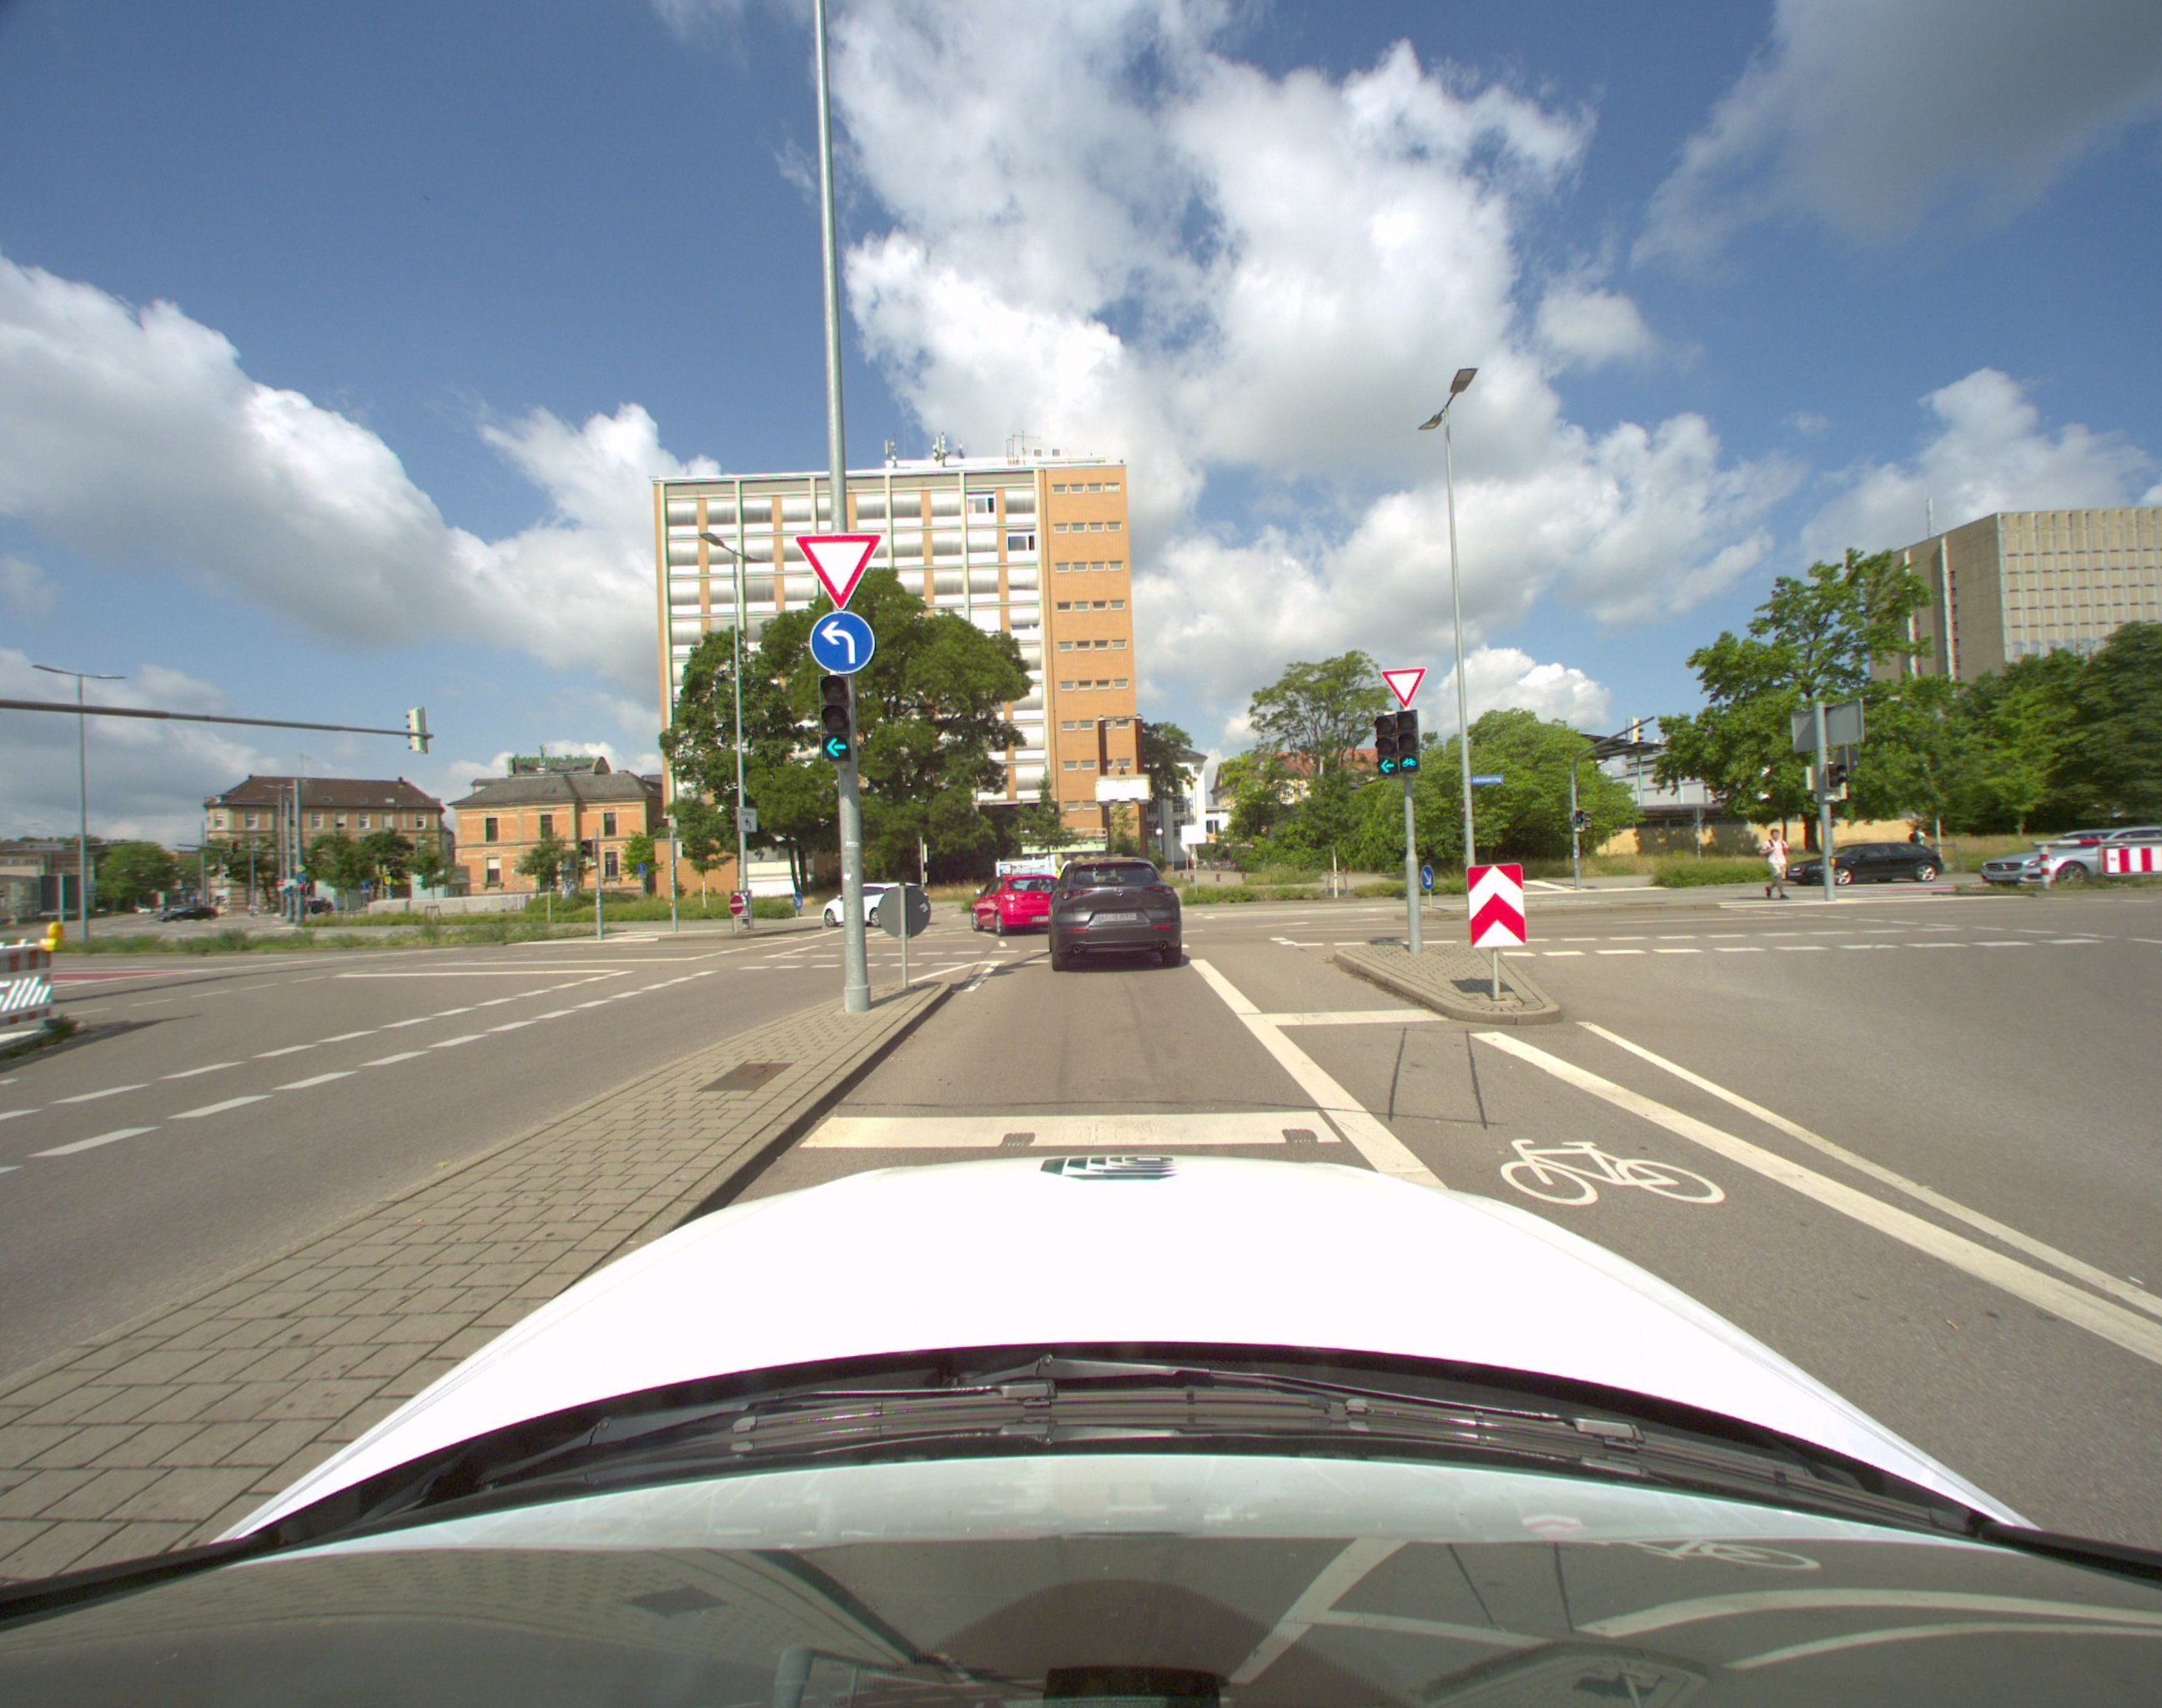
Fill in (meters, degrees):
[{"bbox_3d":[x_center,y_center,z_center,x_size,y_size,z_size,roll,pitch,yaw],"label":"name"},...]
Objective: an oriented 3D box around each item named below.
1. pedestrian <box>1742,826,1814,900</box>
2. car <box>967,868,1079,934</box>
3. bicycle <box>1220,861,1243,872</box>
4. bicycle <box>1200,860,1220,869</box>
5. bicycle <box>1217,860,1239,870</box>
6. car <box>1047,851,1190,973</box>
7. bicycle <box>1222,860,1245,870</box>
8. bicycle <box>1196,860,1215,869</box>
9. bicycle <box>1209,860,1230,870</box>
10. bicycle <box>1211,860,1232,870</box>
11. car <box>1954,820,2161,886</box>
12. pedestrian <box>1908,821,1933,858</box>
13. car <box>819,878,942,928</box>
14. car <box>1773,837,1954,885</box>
[{"bbox_3d":[18.417,0.249,21.543,0.697,1.857,1.177,-3,-2,-9],"label":"pedestrian"},{"bbox_3d":[-1.587,1.164,20.685,1.822,1.439,4.040,-2,-2,-19],"label":"car"},{"bbox_3d":[14.390,1.180,77.983,2.048,0.936,0.804,-3,-1,0],"label":"bicycle"},{"bbox_3d":[14.320,1.191,90.178,2.048,0.936,0.804,-3,-1,0],"label":"bicycle"},{"bbox_3d":[14.757,1.115,81.962,2.048,0.936,0.804,-3,-1,0],"label":"bicycle"},{"bbox_3d":[0.410,0.764,12.536,1.801,1.508,4.201,-2,-1,-2],"label":"car"},{"bbox_3d":[15.071,1.100,80.622,2.048,0.936,0.804,-3,-1,0],"label":"bicycle"},{"bbox_3d":[14.501,1.230,95.037,2.048,0.936,0.804,-3,-1,0],"label":"bicycle"},{"bbox_3d":[14.657,1.154,86.437,2.048,0.936,0.804,-3,-1,0],"label":"bicycle"},{"bbox_3d":[14.714,1.147,85.443,2.048,0.936,0.804,-3,-1,0],"label":"bicycle"},{"bbox_3d":[26.066,-0.029,20.924,4.741,1.442,2.065,-3,-3,5],"label":"car"},{"bbox_3d":[36.171,-0.616,35.093,0.521,1.608,0.541,-1,-1,-3],"label":"pedestrian"},{"bbox_3d":[-6.839,1.645,27.522,4.279,1.472,1.865,-3,-1,41],"label":"car"},{"bbox_3d":[26.823,0.225,28.062,4.126,1.377,2.003,-3,0,5],"label":"car"}]
